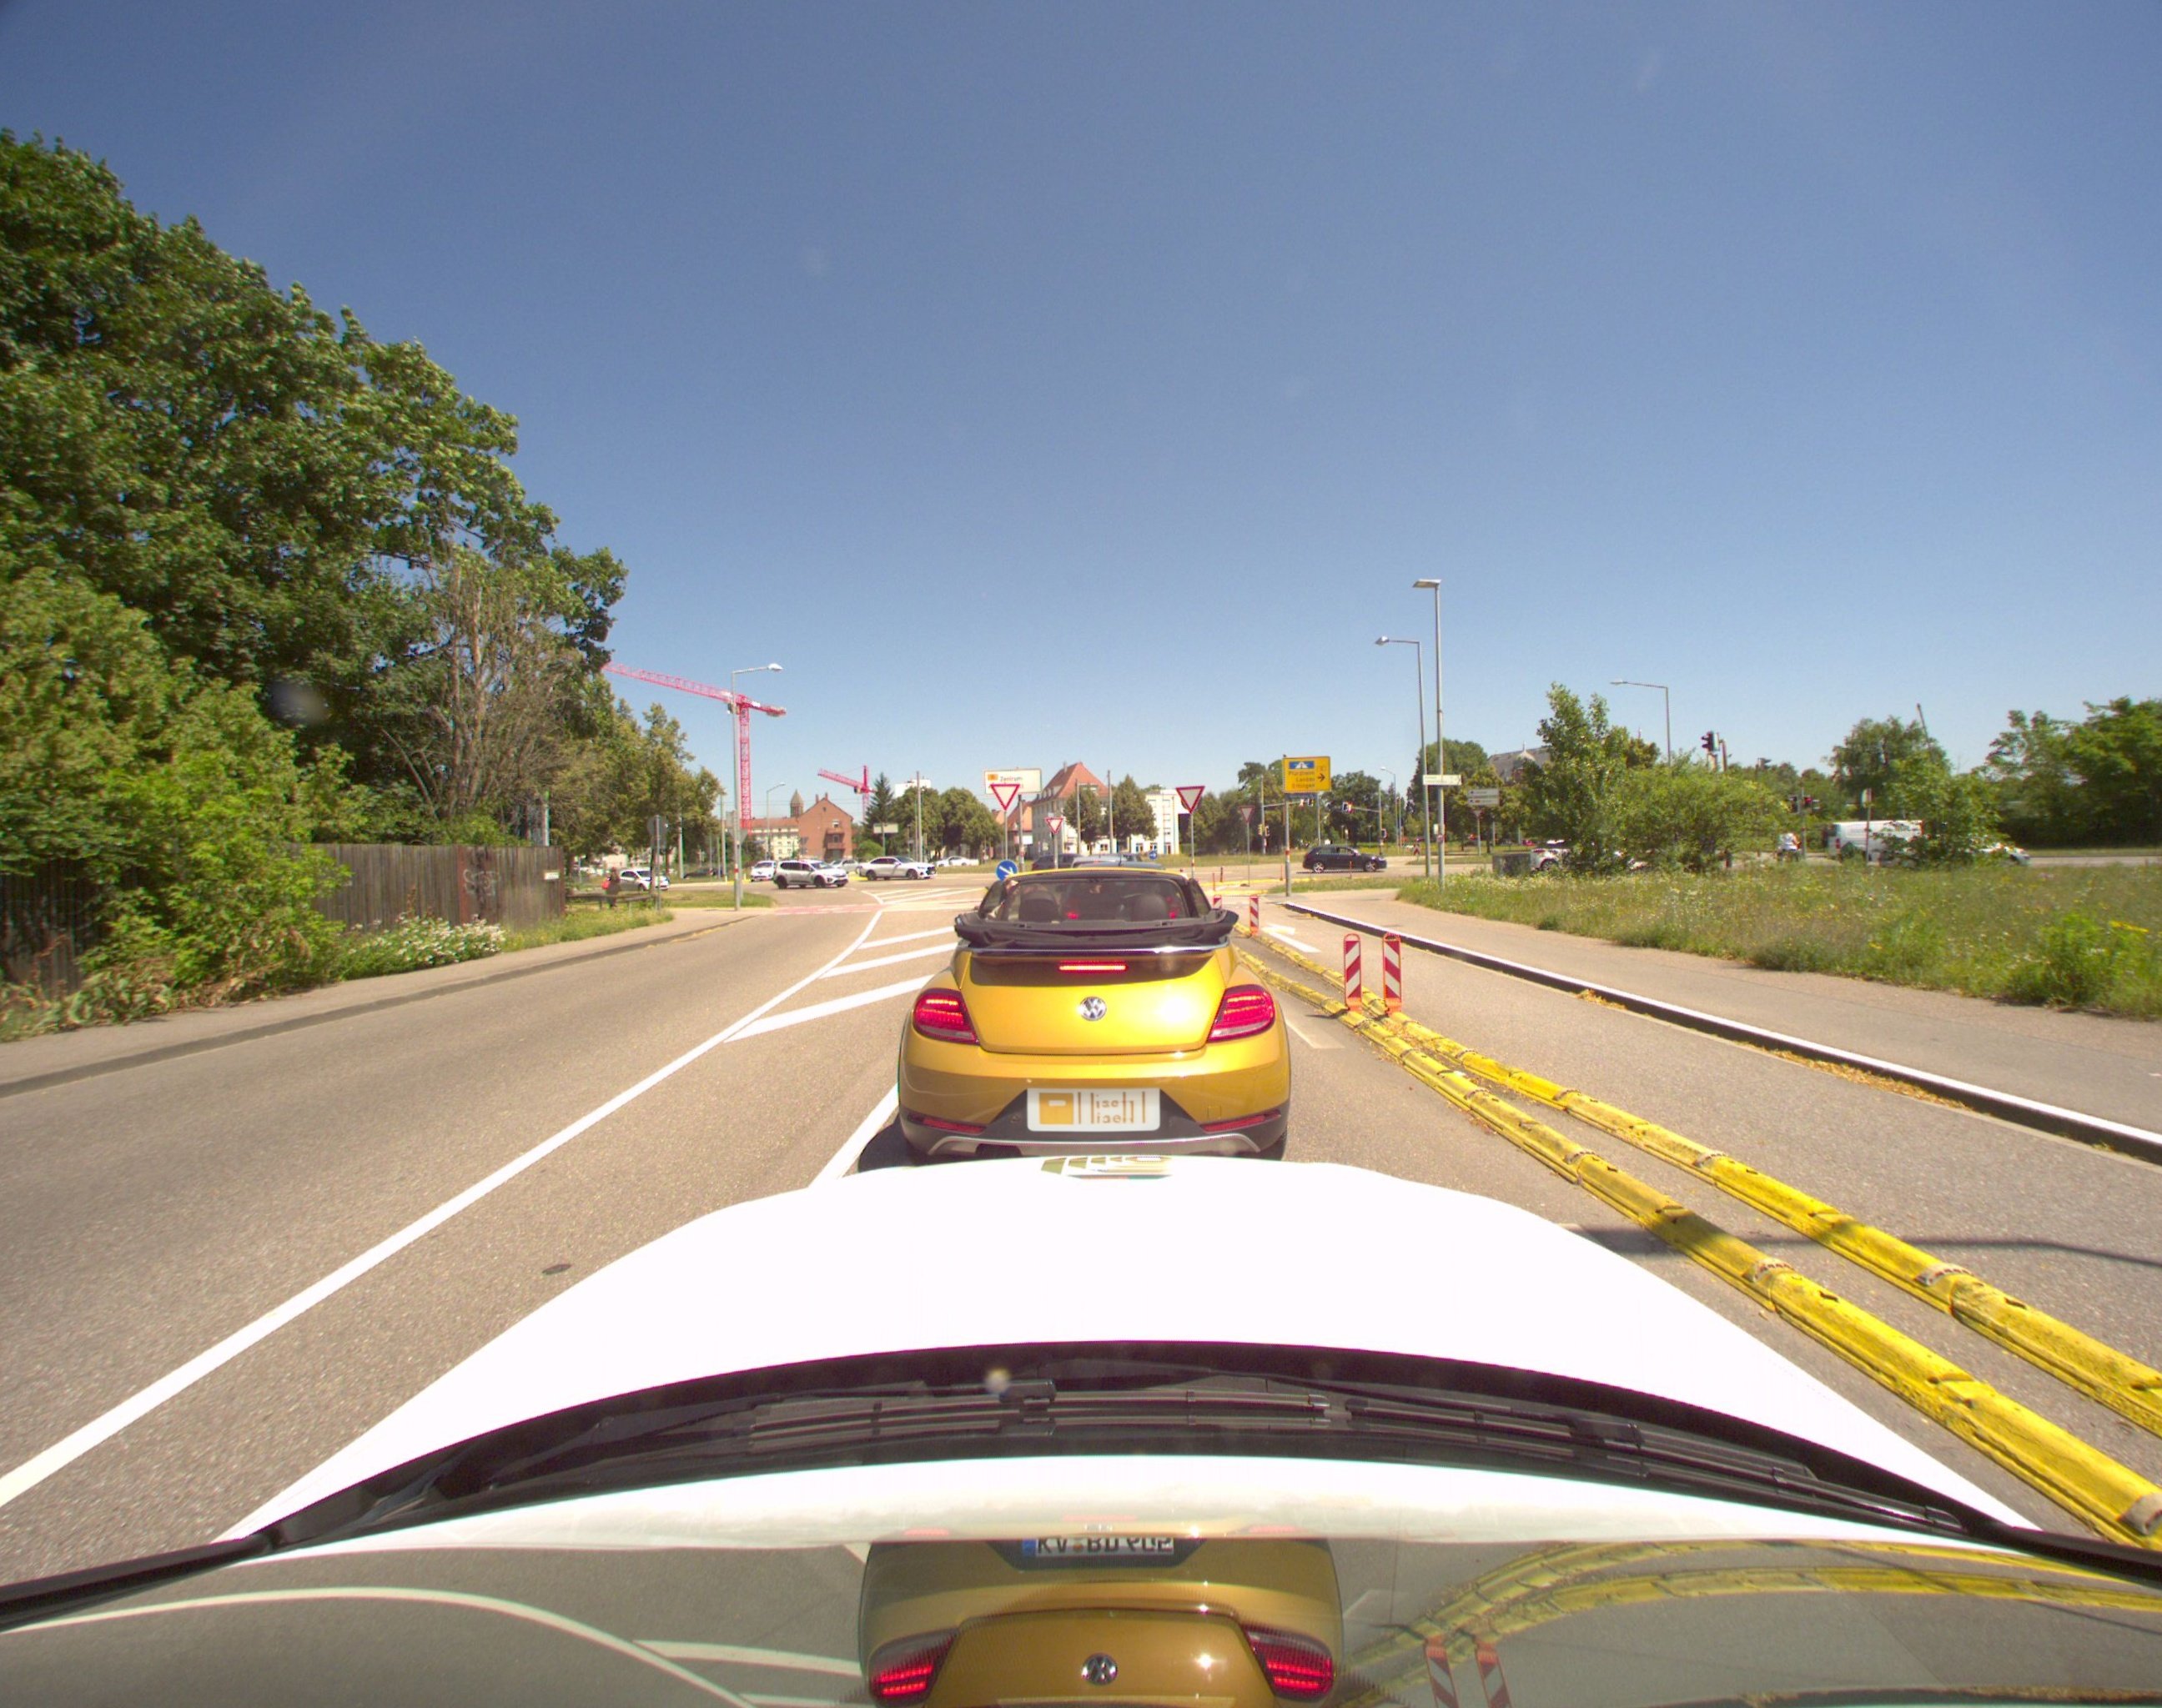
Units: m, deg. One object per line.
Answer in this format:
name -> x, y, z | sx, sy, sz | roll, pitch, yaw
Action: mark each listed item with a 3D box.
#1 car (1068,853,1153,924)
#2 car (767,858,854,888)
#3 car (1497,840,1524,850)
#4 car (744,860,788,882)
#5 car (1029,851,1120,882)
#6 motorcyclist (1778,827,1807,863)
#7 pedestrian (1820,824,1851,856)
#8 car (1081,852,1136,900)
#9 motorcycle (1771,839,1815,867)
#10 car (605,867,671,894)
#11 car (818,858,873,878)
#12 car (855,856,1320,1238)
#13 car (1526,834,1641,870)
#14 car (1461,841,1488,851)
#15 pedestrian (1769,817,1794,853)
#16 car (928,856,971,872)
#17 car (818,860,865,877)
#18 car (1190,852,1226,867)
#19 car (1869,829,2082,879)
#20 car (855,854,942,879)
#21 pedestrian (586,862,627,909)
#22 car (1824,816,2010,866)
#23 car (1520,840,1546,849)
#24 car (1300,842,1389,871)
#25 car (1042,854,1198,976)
car -> 0.678, 0.711, 18.751 | 1.730, 1.442, 4.002 | -1, 0, 2
car -> -15.158, 1.049, 45.595 | 4.531, 1.566, 2.012 | -1, 0, 29
car -> 79.407, -1.664, 150.551 | 3.993, 1.714, 1.990 | -1, 0, -15
car -> -24.594, 1.311, 63.703 | 1.749, 1.549, 4.002 | -1, 0, 2
car -> -0.271, 0.612, 40.438 | 4.179, 1.442, 2.005 | -1, 0, 9
motorcyclist -> 25.816, -0.321, 29.557 | 0.616, 1.289, 0.576 | -1, 0, -27
pedestrian -> 37.861, -0.705, 40.883 | 0.789, 1.563, 0.823 | -1, 0, 3
car -> 0.933, 0.704, 27.608 | 1.730, 1.477, 4.002 | -1, 0, 2
motorcycle -> 25.796, -0.033, 29.512 | 1.712, 0.970, 0.625 | -1, 0, -28
car -> -28.890, 1.722, 53.108 | 3.962, 1.620, 1.690 | -1, 0, 25
car -> -24.266, 1.440, 84.043 | 4.958, 1.786, 2.002 | -3, 0, -41
car -> 0.076, 0.741, 4.989 | 1.746, 1.422, 3.779 | -1, 0, 1
car -> 21.797, -0.085, 35.488 | 3.974, 1.444, 1.641 | -1, 0, 20
car -> 71.780, -1.527, 148.552 | 3.993, 1.714, 1.990 | -1, 0, -15
pedestrian -> 36.703, -0.989, 42.676 | 0.647, 1.870, 0.737 | -1, 0, 3
car -> -15.935, 1.206, 98.618 | 4.702, 1.828, 1.980 | -1, 0, -32
car -> -23.256, 1.417, 79.153 | 1.690, 1.500, 4.247 | -1, 0, 34
car -> 16.482, 0.731, 105.844 | 4.148, 1.672, 1.961 | -3, 0, 27
car -> 32.651, 0.019, 29.968 | 4.875, 1.705, 2.013 | -1, 0, 31
car -> -11.488, 0.776, 51.215 | 4.950, 1.509, 2.009 | -1, 0, 18
pedestrian -> -16.252, 1.083, 27.896 | 0.866, 1.563, 0.815 | -1, 0, 24
car -> 33.554, -0.461, 32.944 | 4.922, 1.850, 2.013 | -1, 0, 35
car -> 84.777, -1.759, 152.864 | 3.996, 1.714, 1.989 | -1, 0, -17
car -> 13.669, 0.135, 42.448 | 4.162, 1.442, 2.005 | -1, 0, 9
car -> 0.536, 0.734, 11.790 | 1.841, 1.442, 4.002 | -1, 0, 2
